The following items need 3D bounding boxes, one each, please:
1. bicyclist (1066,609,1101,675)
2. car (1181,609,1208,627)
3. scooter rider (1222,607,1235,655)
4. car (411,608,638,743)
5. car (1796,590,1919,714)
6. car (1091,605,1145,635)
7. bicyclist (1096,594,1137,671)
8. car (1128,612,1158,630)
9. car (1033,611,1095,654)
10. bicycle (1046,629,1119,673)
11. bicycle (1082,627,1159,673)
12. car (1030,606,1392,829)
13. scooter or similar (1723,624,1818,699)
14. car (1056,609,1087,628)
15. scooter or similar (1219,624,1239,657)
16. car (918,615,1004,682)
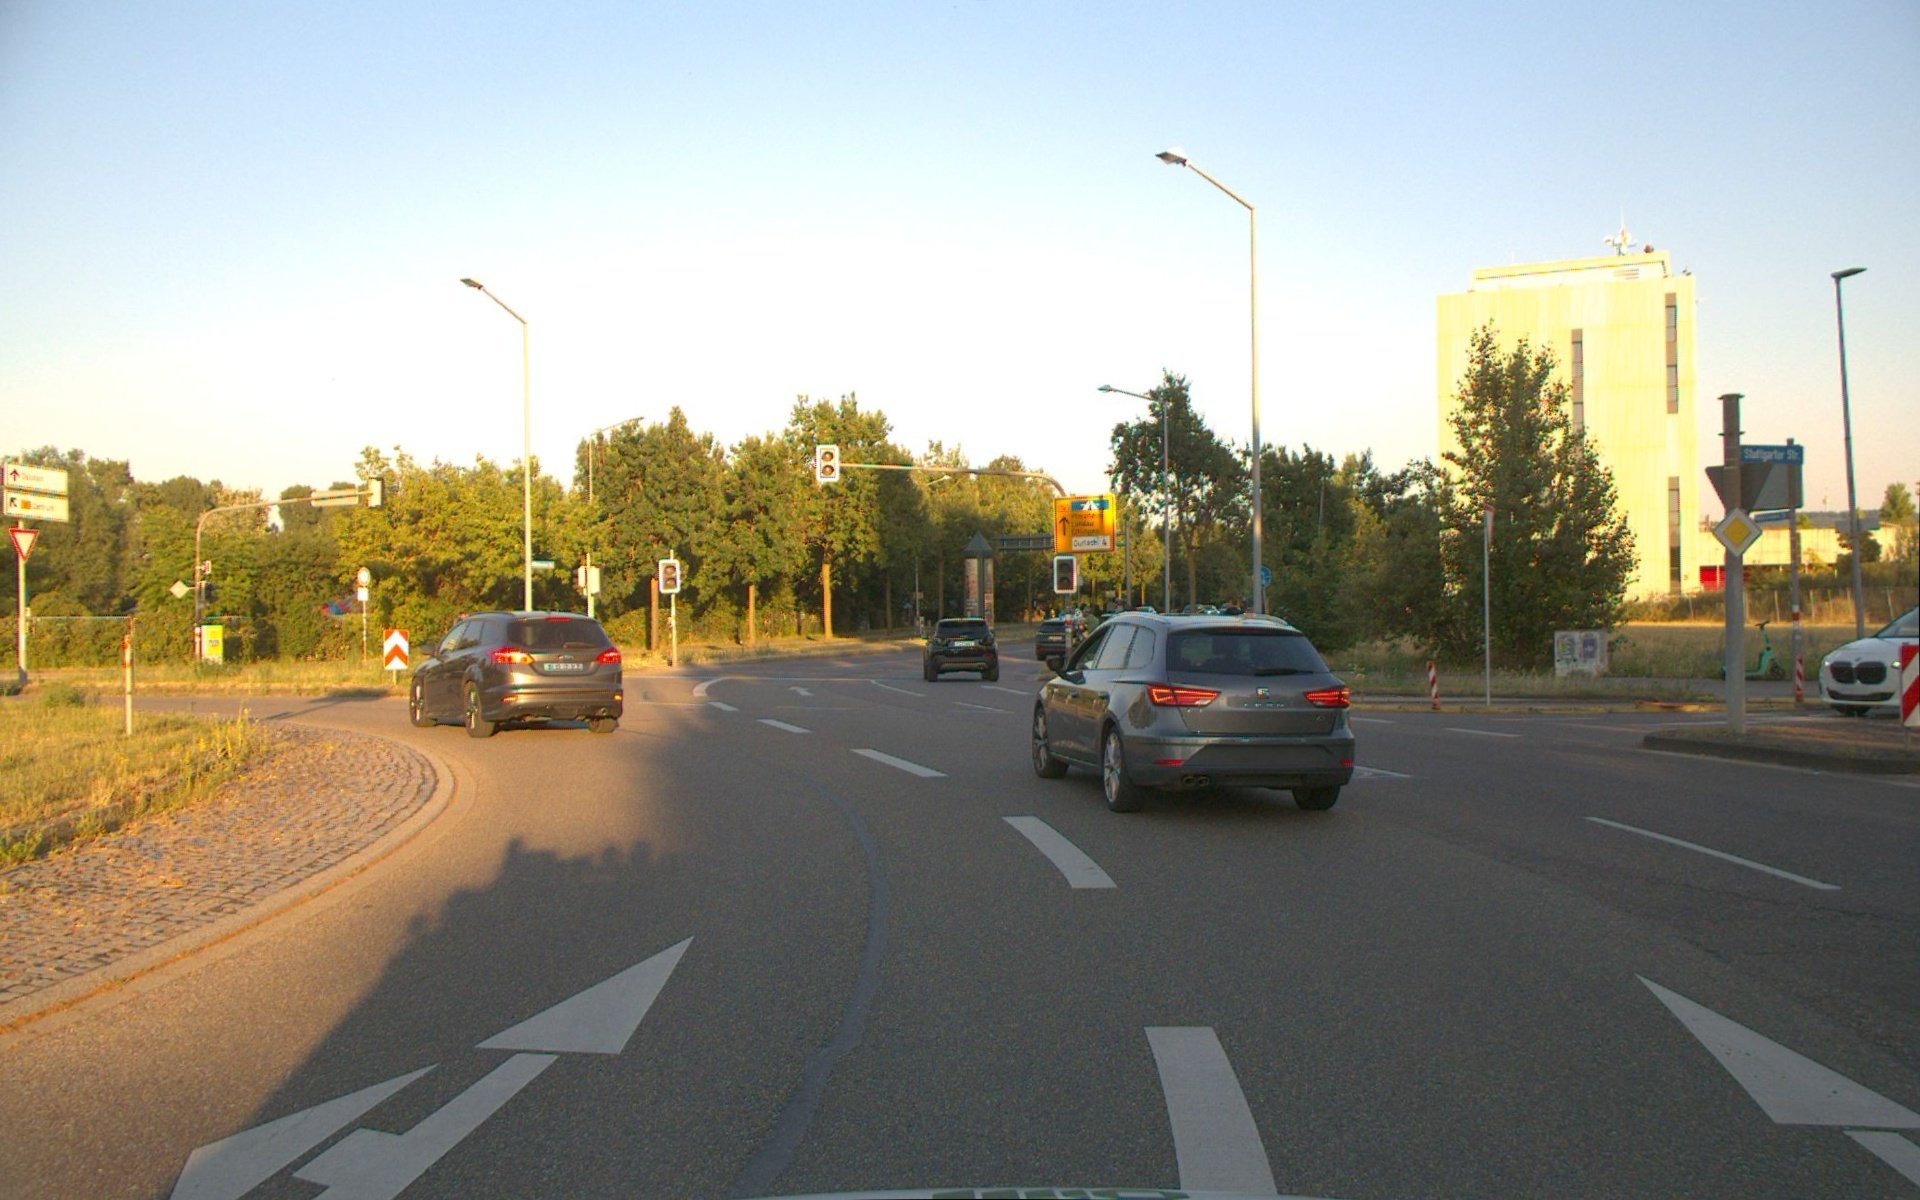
[{"bbox_3d":[3.382,1.146,45.187,0.751,1.732,0.642,-3,-1,16],"label":"bicyclist"},{"bbox_3d":[23.154,1.758,163.187,1.760,1.662,4.457,-2,-1,19],"label":"car"},{"bbox_3d":[7.693,0.880,47.378,0.259,1.362,0.405,0,0,-10],"label":"scooter rider"},{"bbox_3d":[-5.577,0.859,20.827,1.728,1.492,4.092,-1,0,-31],"label":"car"},{"bbox_3d":[13.875,0.683,22.913,4.023,1.586,1.879,0,-1,-21],"label":"car"},{"bbox_3d":[8.089,1.010,84.206,1.951,1.496,4.002,-1,0,17],"label":"car"},{"bbox_3d":[4.042,0.827,42.690,0.888,1.931,0.642,-3,-1,16],"label":"bicyclist"},{"bbox_3d":[15.838,1.789,143.004,1.685,1.474,4.552,-1,0,17],"label":"car"},{"bbox_3d":[3.912,1.201,61.848,1.708,1.515,4.138,0,0,12],"label":"car"},{"bbox_3d":[3.332,1.387,45.160,1.881,1.104,0.457,-3,-1,17],"label":"bicycle"},{"bbox_3d":[4.135,1.295,42.638,1.881,1.104,0.457,-3,-1,17],"label":"bicycle"},{"bbox_3d":[1.791,0.789,13.160,1.713,1.449,4.127,-1,0,-8],"label":"car"},{"bbox_3d":[13.335,1.003,27.242,0.437,1.183,1.366,0,0,-35],"label":"scooter or similar"},{"bbox_3d":[9.068,1.505,134.178,1.517,1.468,3.486,-2,-1,21],"label":"car"},{"bbox_3d":[7.715,1.149,47.447,0.242,0.930,1.037,0,0,-10],"label":"scooter or similar"},{"bbox_3d":[-0.032,1.171,41.729,1.777,1.551,4.130,-1,0,-6],"label":"car"}]
